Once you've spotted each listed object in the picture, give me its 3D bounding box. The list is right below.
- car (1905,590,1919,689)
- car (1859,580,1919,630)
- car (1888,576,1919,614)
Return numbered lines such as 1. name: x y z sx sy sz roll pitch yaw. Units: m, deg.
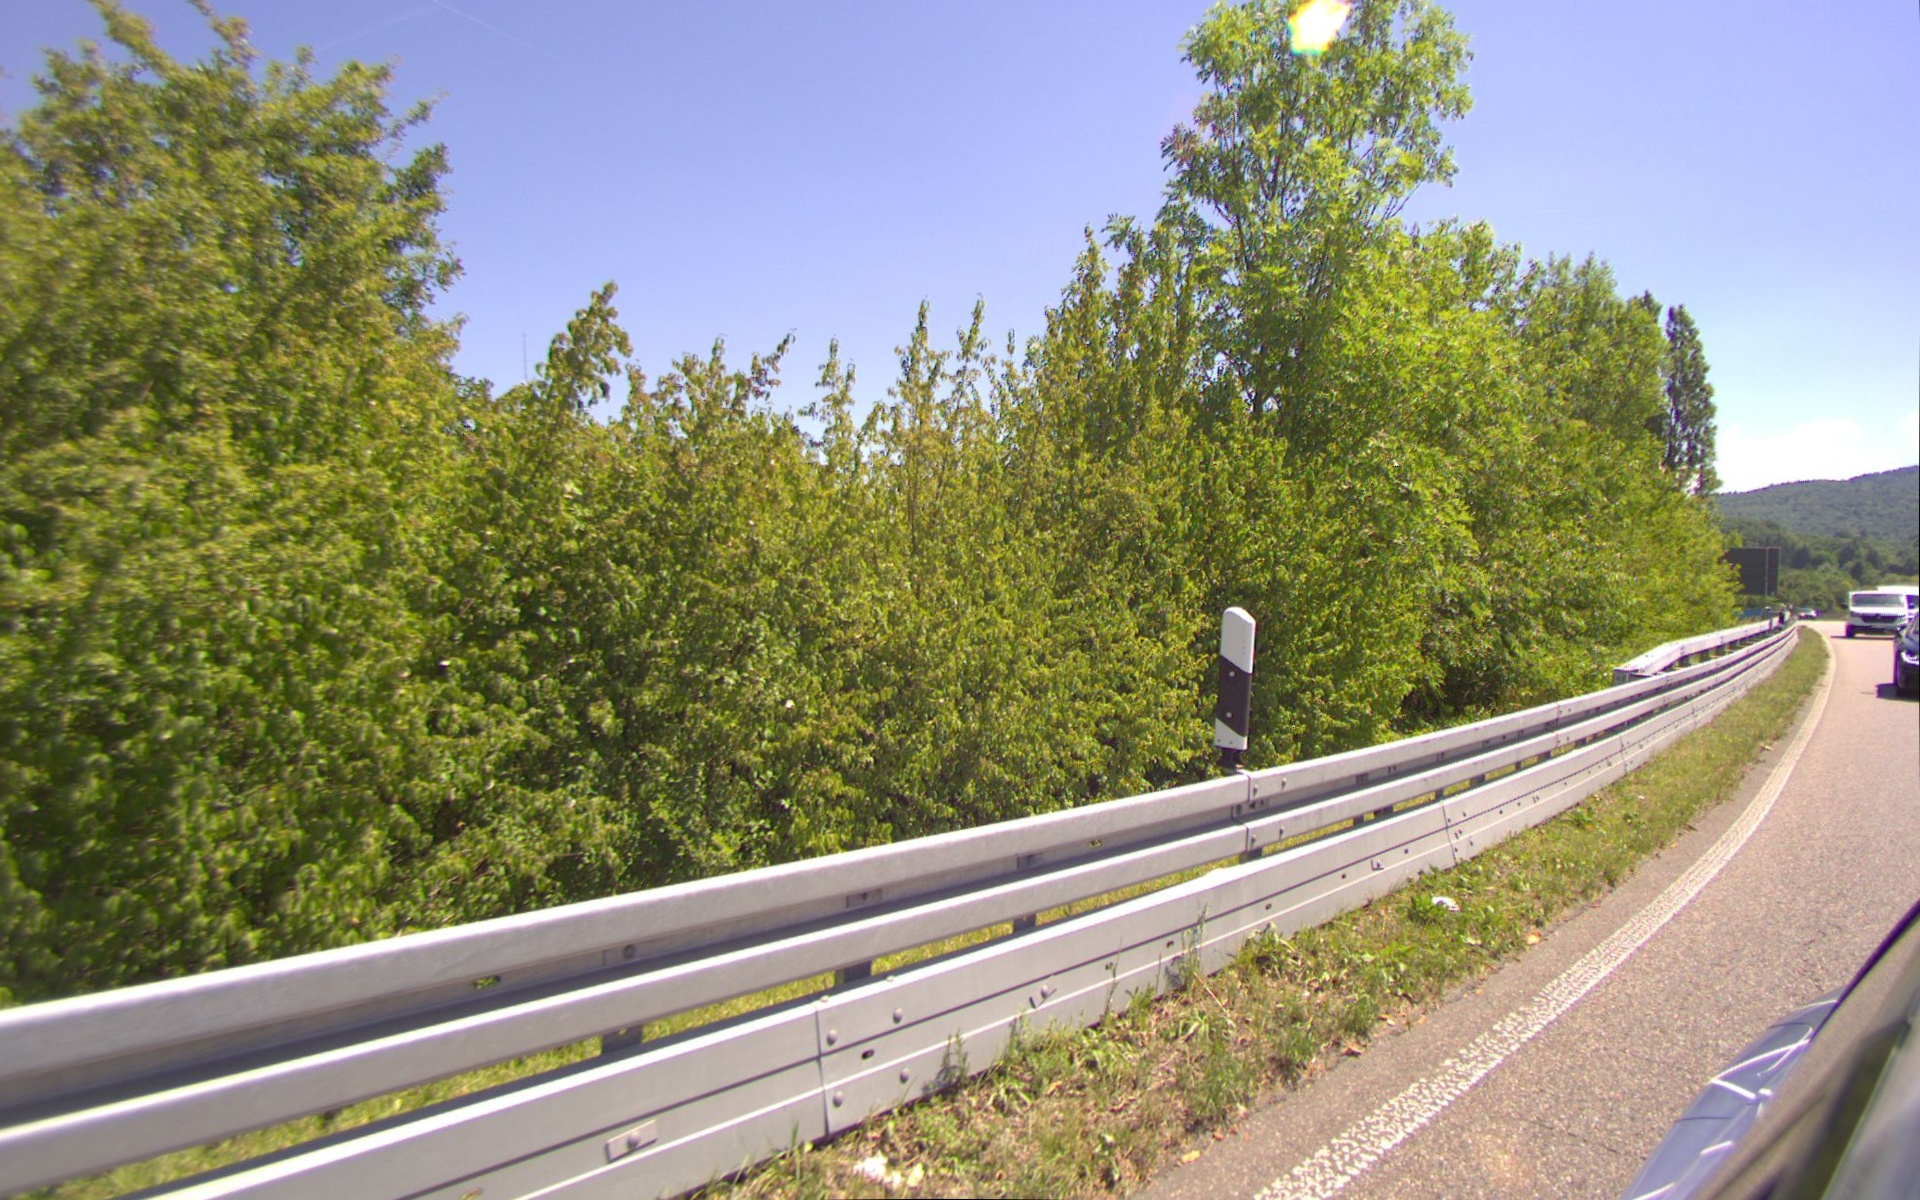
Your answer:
1. car: 16.225 0.608 15.752 4.455 1.448 1.841 1 0 -42
2. car: 38.539 0.202 41.810 1.993 1.975 4.571 0 0 43
3. car: 50.645 -0.250 53.740 1.993 1.975 4.571 0 0 43
